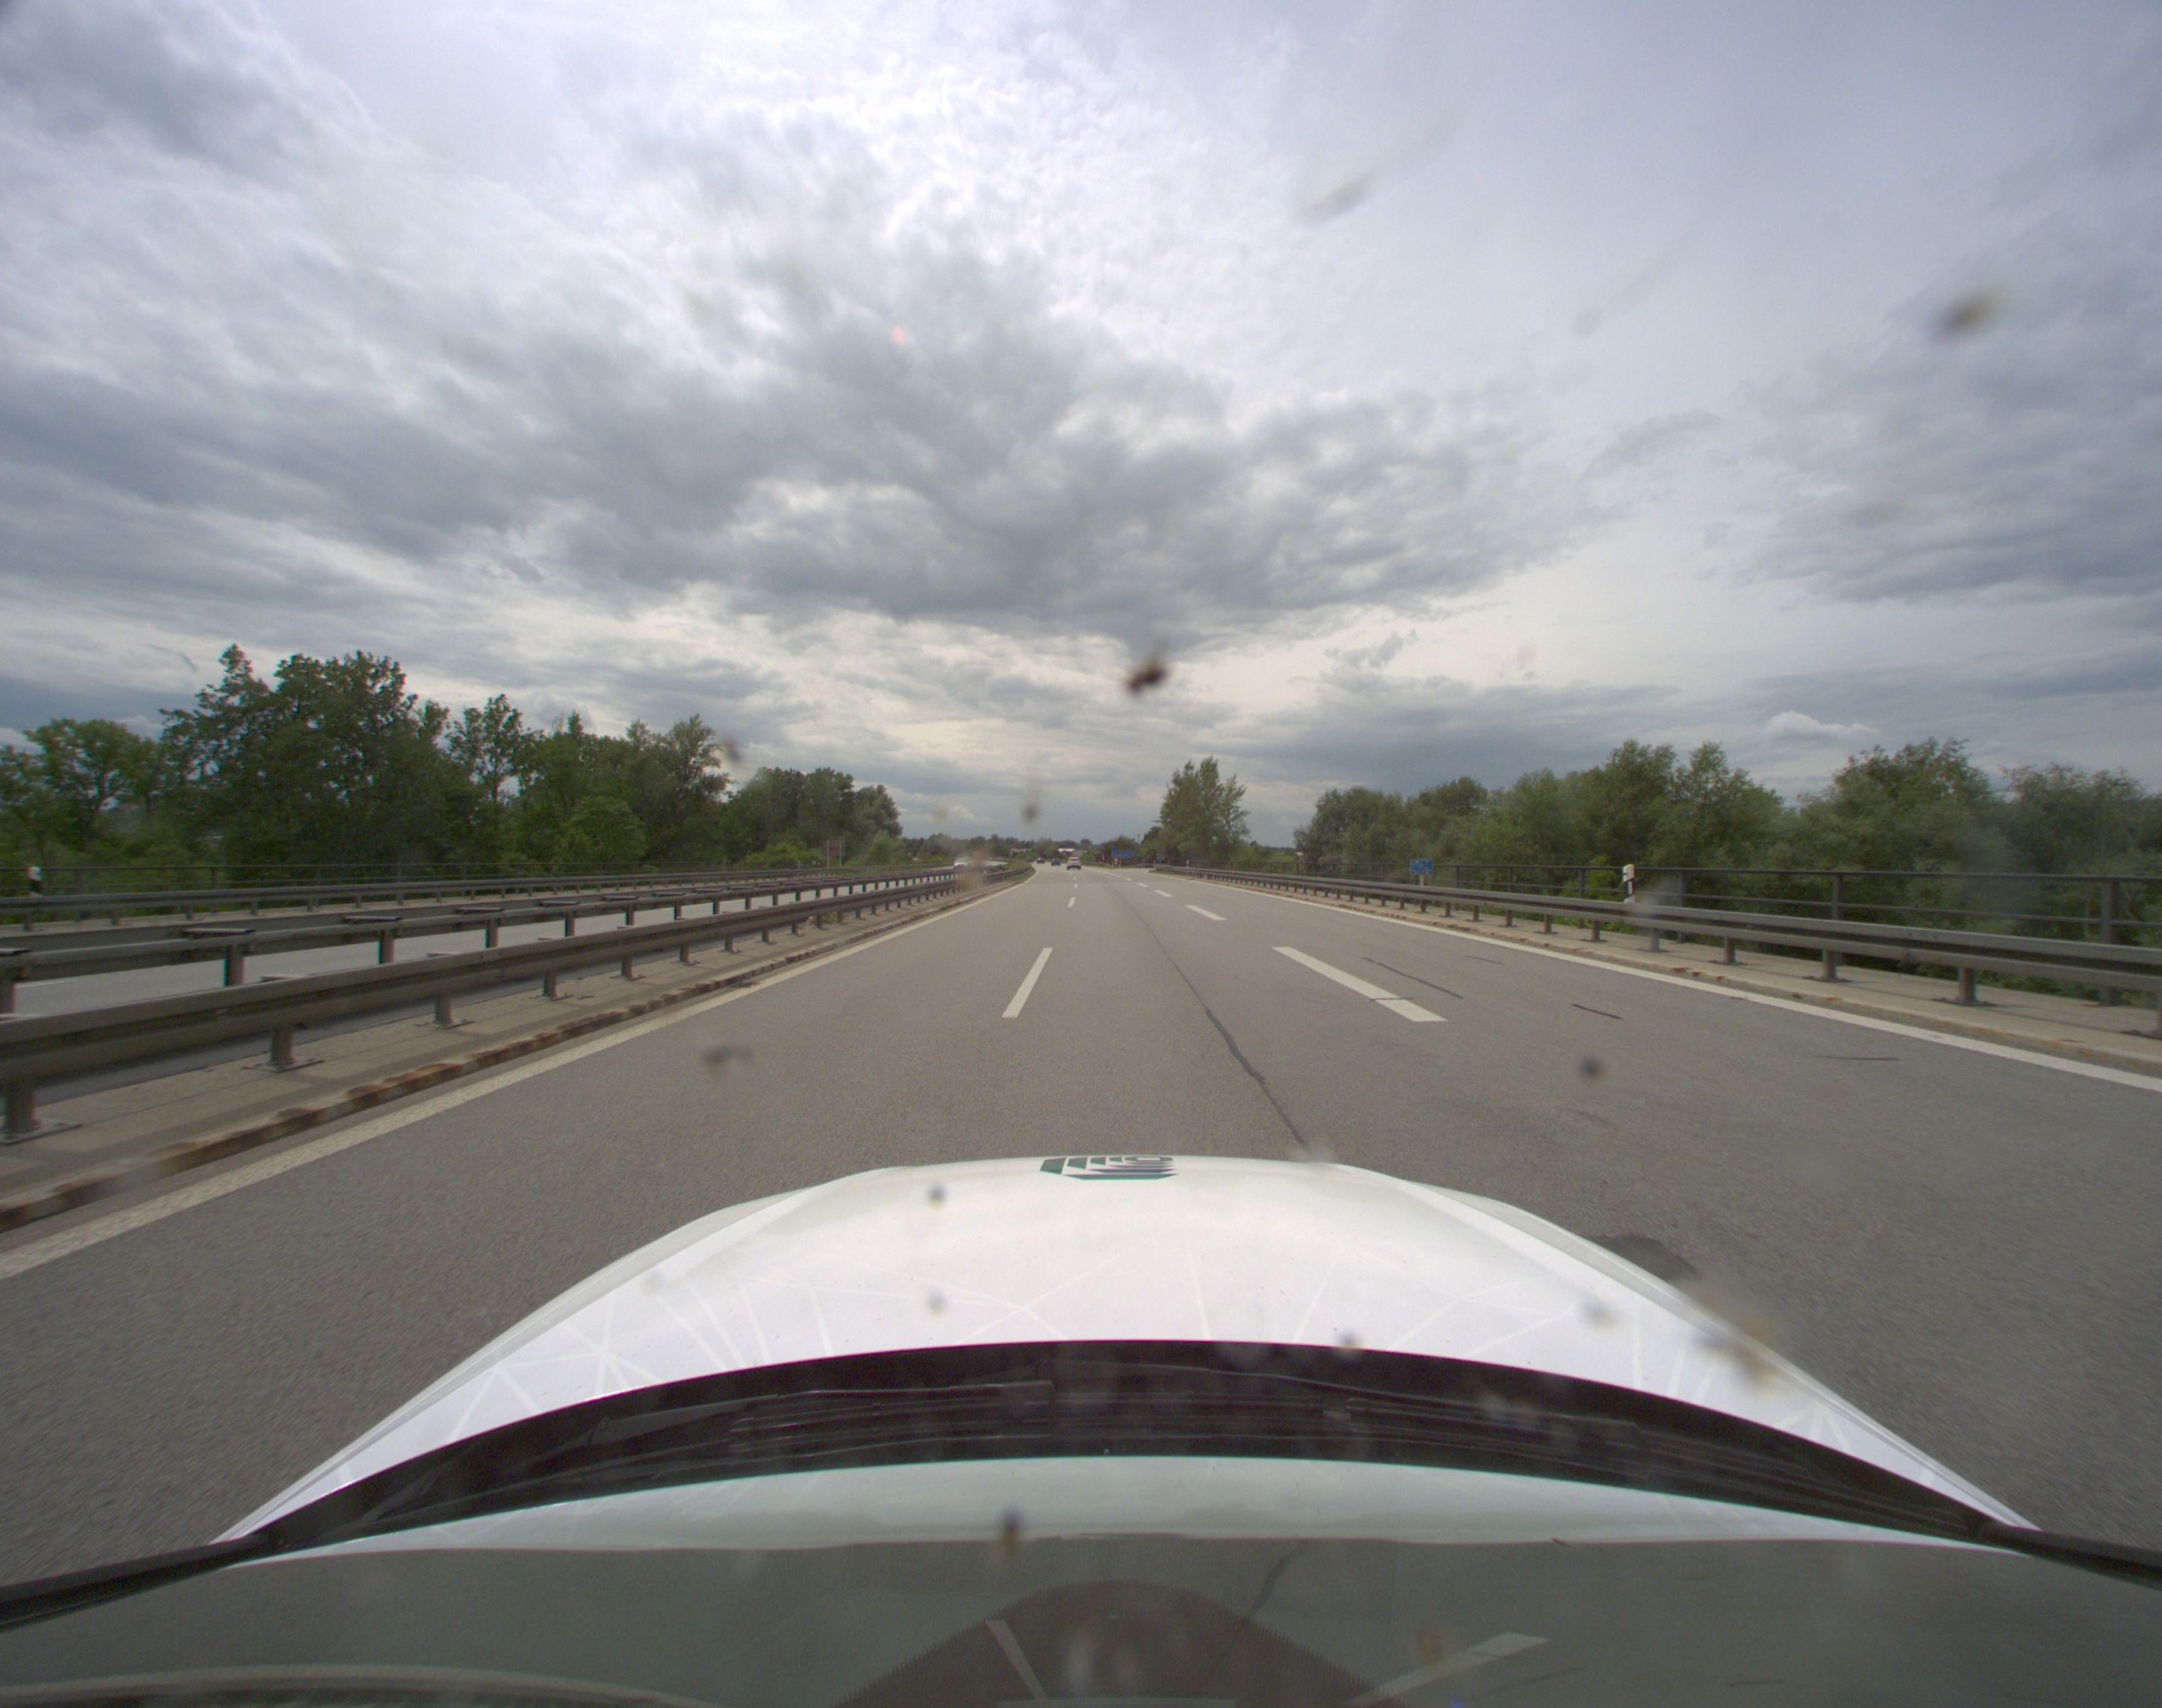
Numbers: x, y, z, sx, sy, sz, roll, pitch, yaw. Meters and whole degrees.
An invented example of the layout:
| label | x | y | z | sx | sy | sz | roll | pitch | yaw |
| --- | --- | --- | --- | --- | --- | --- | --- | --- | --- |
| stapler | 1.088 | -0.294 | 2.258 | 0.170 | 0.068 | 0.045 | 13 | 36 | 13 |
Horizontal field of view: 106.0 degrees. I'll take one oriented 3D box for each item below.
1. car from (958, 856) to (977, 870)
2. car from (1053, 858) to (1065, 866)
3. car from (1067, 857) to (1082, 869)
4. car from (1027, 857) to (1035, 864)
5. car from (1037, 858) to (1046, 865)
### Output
| label | x | y | z | sx | sy | sz | roll | pitch | yaw |
| --- | --- | --- | --- | --- | --- | --- | --- | --- | --- |
| car | -13.839 | 1.086 | 99.195 | 1.638 | 1.715 | 4.979 | 0 | 0 | -1 |
| car | -4.514 | 1.680 | 165.716 | 1.892 | 1.640 | 4.608 | 0 | 0 | -9 |
| car | -0.926 | 1.266 | 112.836 | 1.899 | 1.640 | 4.388 | 0 | 0 | -5 |
| car | -14.791 | 1.890 | 240.186 | 1.828 | 1.794 | 4.396 | 0 | 0 | -12 |
| car | -10.132 | 1.909 | 208.712 | 1.902 | 1.640 | 4.763 | 0 | 0 | -10 |
